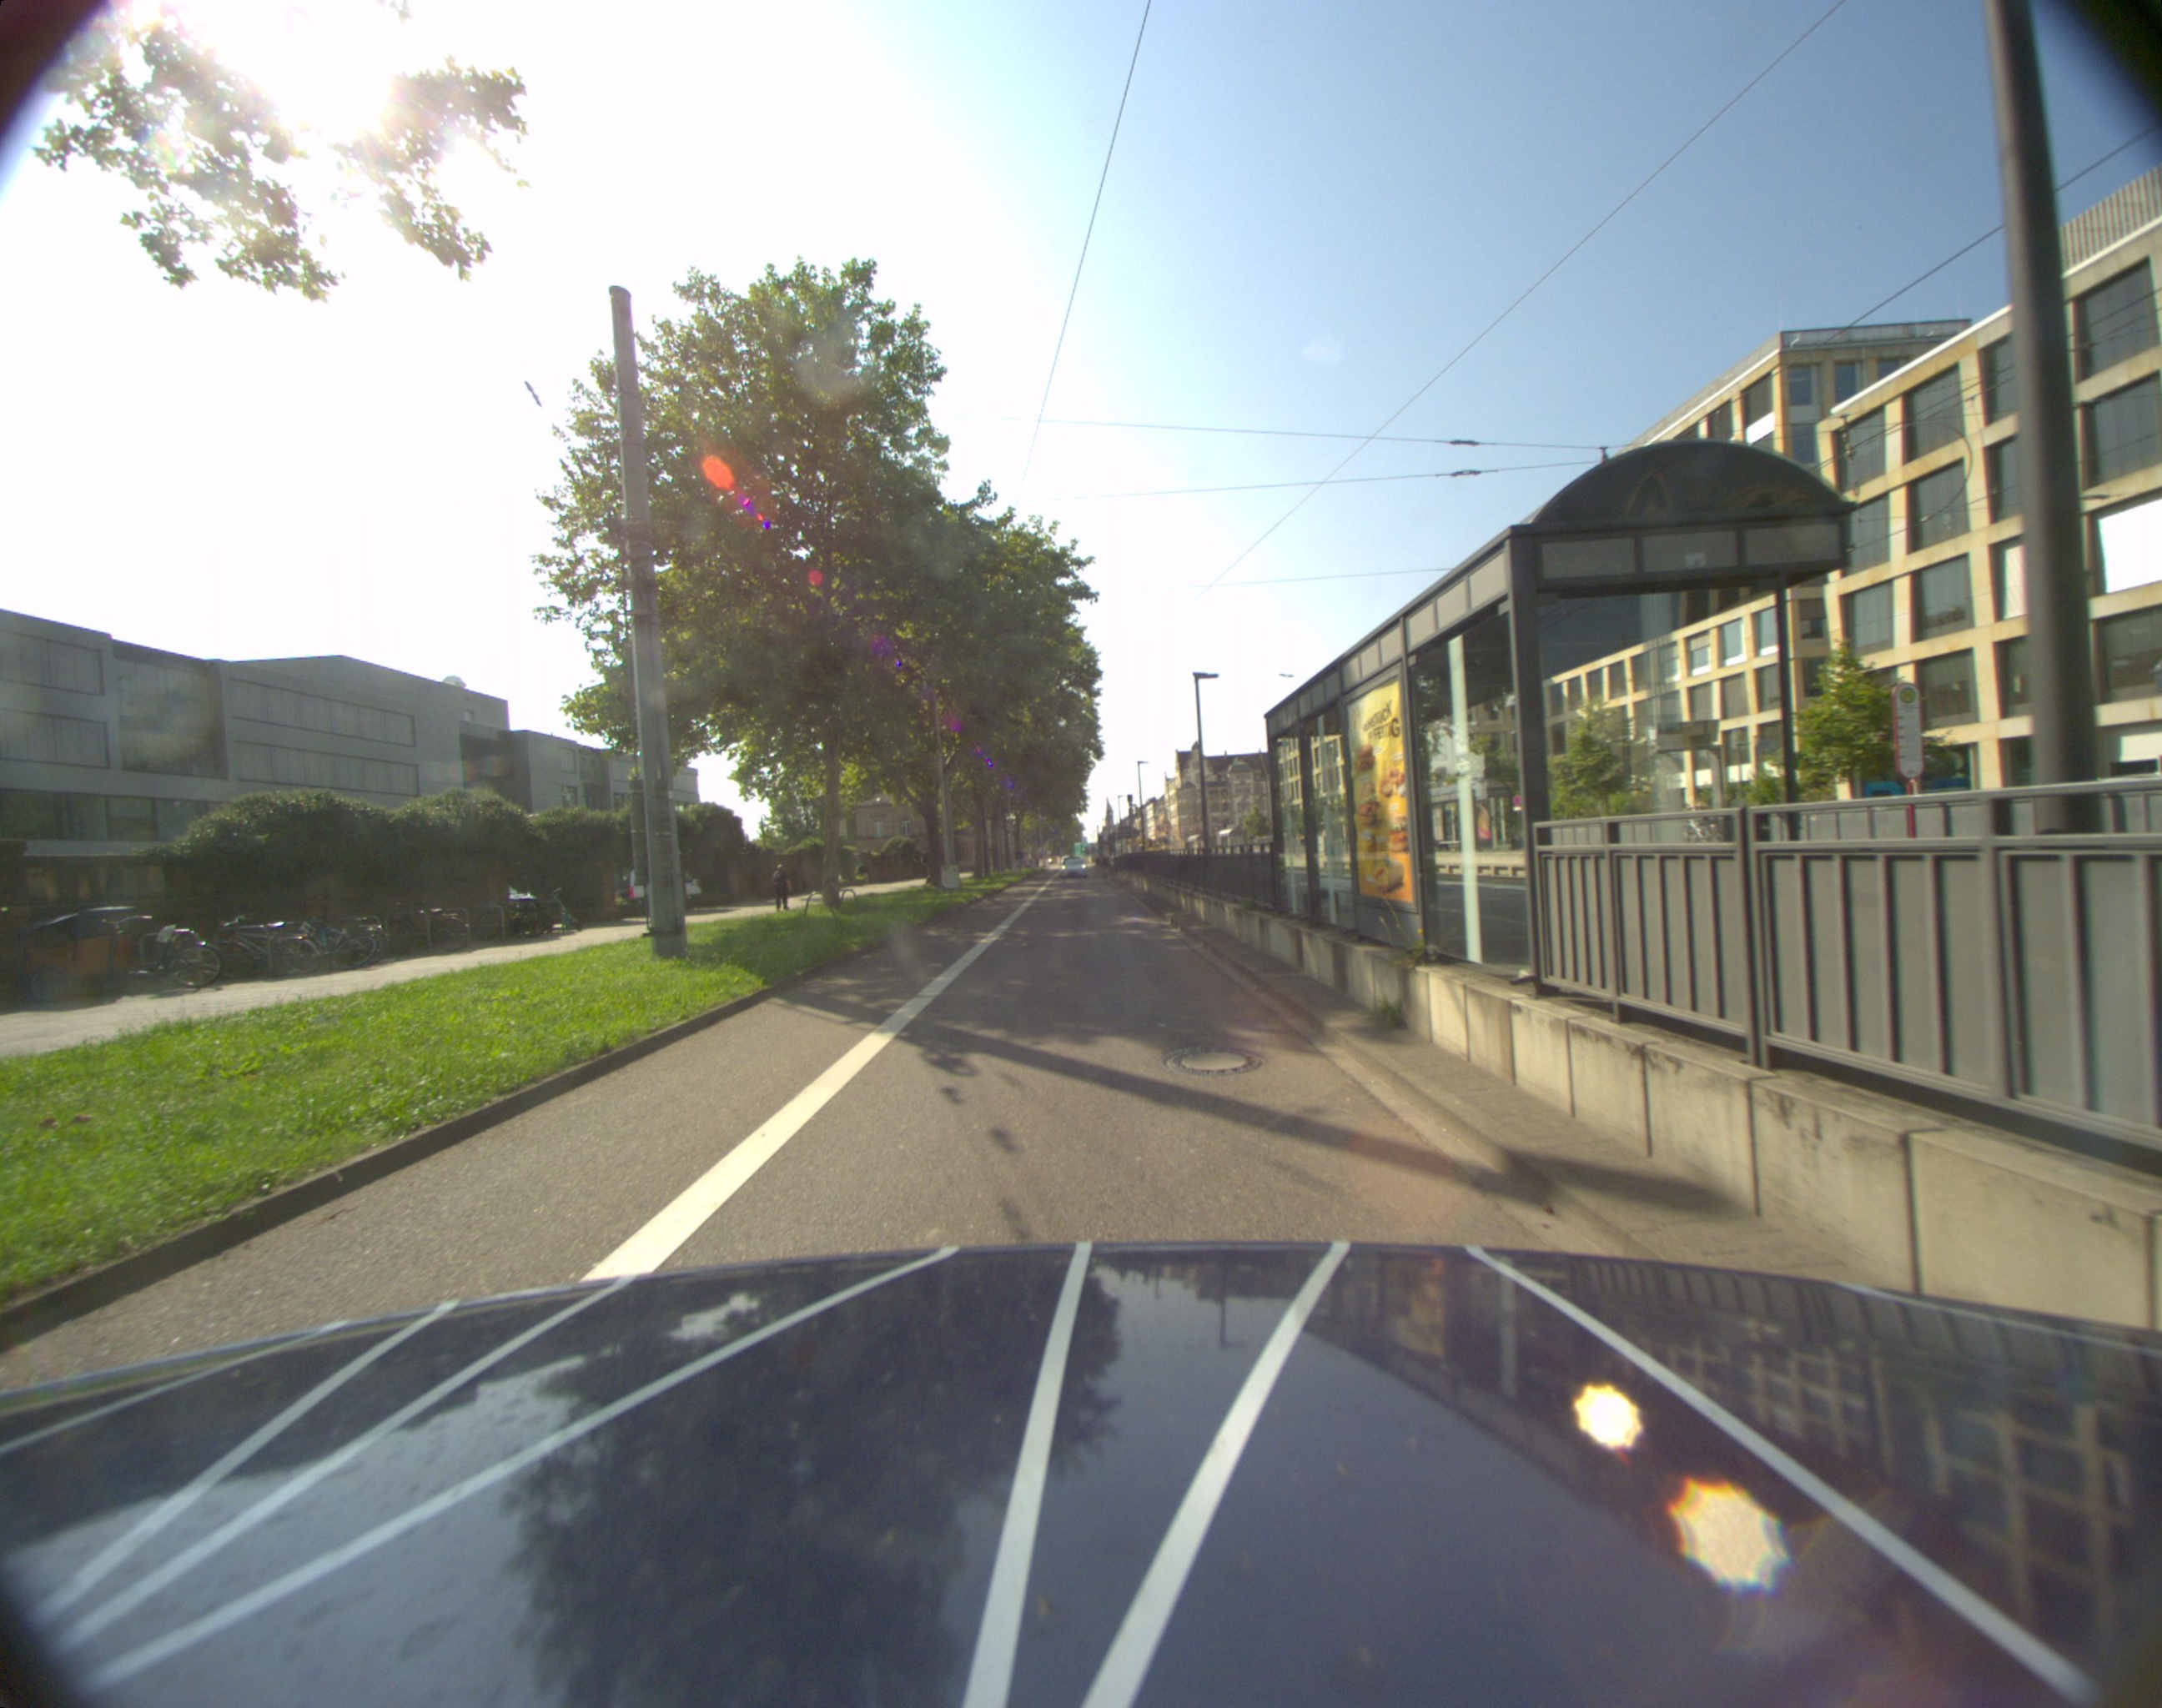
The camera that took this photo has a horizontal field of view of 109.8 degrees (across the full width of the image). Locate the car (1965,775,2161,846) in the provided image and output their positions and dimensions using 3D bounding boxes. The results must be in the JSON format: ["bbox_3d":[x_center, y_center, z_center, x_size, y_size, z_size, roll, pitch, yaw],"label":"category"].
[{"bbox_3d":[25.546,-1.057,19.098,1.768,1.593,4.131,-3,0,-2],"label":"car"}]

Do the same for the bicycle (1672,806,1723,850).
[{"bbox_3d":[16.910,-0.698,20.862,0.472,1.141,1.485,-4,1,15],"label":"bicycle"}]

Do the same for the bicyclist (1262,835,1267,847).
[{"bbox_3d":[22.573,-1.589,93.622,0.387,1.353,0.447,-4,0,0],"label":"bicyclist"}]

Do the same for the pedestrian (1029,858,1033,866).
[{"bbox_3d":[-7.426,1.156,112.849,0.610,1.211,0.574,-2,0,-3],"label":"pedestrian"}]

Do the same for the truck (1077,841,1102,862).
[{"bbox_3d":[1.514,-0.400,140.975,2.817,3.766,9.008,-3,0,-10],"label":"truck"}]

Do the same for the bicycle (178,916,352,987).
[{"bbox_3d":[-13.672,1.621,12.768,2.178,1.070,0.743,-1,1,3],"label":"bicycle"}]

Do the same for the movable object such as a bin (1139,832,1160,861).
[{"bbox_3d":[11.405,-1.204,126.253,2.994,4.527,4.212,-4,0,2],"label":"movable object such as a bin"}]

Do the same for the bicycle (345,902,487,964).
[{"bbox_3d":[-13.780,1.619,15.794,2.179,1.070,0.743,-4,1,-2],"label":"bicycle"}]

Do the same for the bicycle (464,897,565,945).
[{"bbox_3d":[-14.068,1.649,18.910,1.872,1.000,0.735,-4,1,-2],"label":"bicycle"}]

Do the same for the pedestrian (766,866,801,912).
[{"bbox_3d":[-10.179,1.177,26.025,0.786,1.506,0.787,-3,0,0],"label":"pedestrian"}]

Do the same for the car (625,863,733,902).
[{"bbox_3d":[-20.975,1.478,39.805,4.534,1.723,1.909,-3,0,-2],"label":"car"}]

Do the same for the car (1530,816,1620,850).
[{"bbox_3d":[25.136,-1.009,38.846,1.768,1.565,4.131,-3,0,-2],"label":"car"}]

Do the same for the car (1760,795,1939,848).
[{"bbox_3d":[25.667,-1.022,25.606,1.768,1.565,4.131,-3,0,-2],"label":"car"}]

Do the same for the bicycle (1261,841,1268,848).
[{"bbox_3d":[22.598,-1.173,93.710,0.389,0.874,1.576,-4,0,0],"label":"bicycle"}]

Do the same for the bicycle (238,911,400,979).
[{"bbox_3d":[-13.581,1.613,13.574,2.178,1.070,0.743,-1,1,3],"label":"bicycle"}]

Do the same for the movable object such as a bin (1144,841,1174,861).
[{"bbox_3d":[13.806,-0.581,134.643,4.127,3.204,3.564,-4,0,-16],"label":"movable object such as a bin"}]

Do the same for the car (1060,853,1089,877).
[{"bbox_3d":[-0.413,0.728,53.244,1.844,1.451,4.000,-4,0,0],"label":"car"}]

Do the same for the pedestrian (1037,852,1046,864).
[{"bbox_3d":[-5.687,0.538,110.480,0.886,1.616,0.821,-4,0,-37],"label":"pedestrian"}]

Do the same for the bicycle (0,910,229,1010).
[{"bbox_3d":[-14.366,1.546,11.267,2.250,1.270,0.998,-2,2,-1],"label":"bicycle"}]

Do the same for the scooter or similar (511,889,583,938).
[{"bbox_3d":[-14.110,1.567,20.099,1.509,1.184,0.539,-2,1,4],"label":"scooter or similar"}]
